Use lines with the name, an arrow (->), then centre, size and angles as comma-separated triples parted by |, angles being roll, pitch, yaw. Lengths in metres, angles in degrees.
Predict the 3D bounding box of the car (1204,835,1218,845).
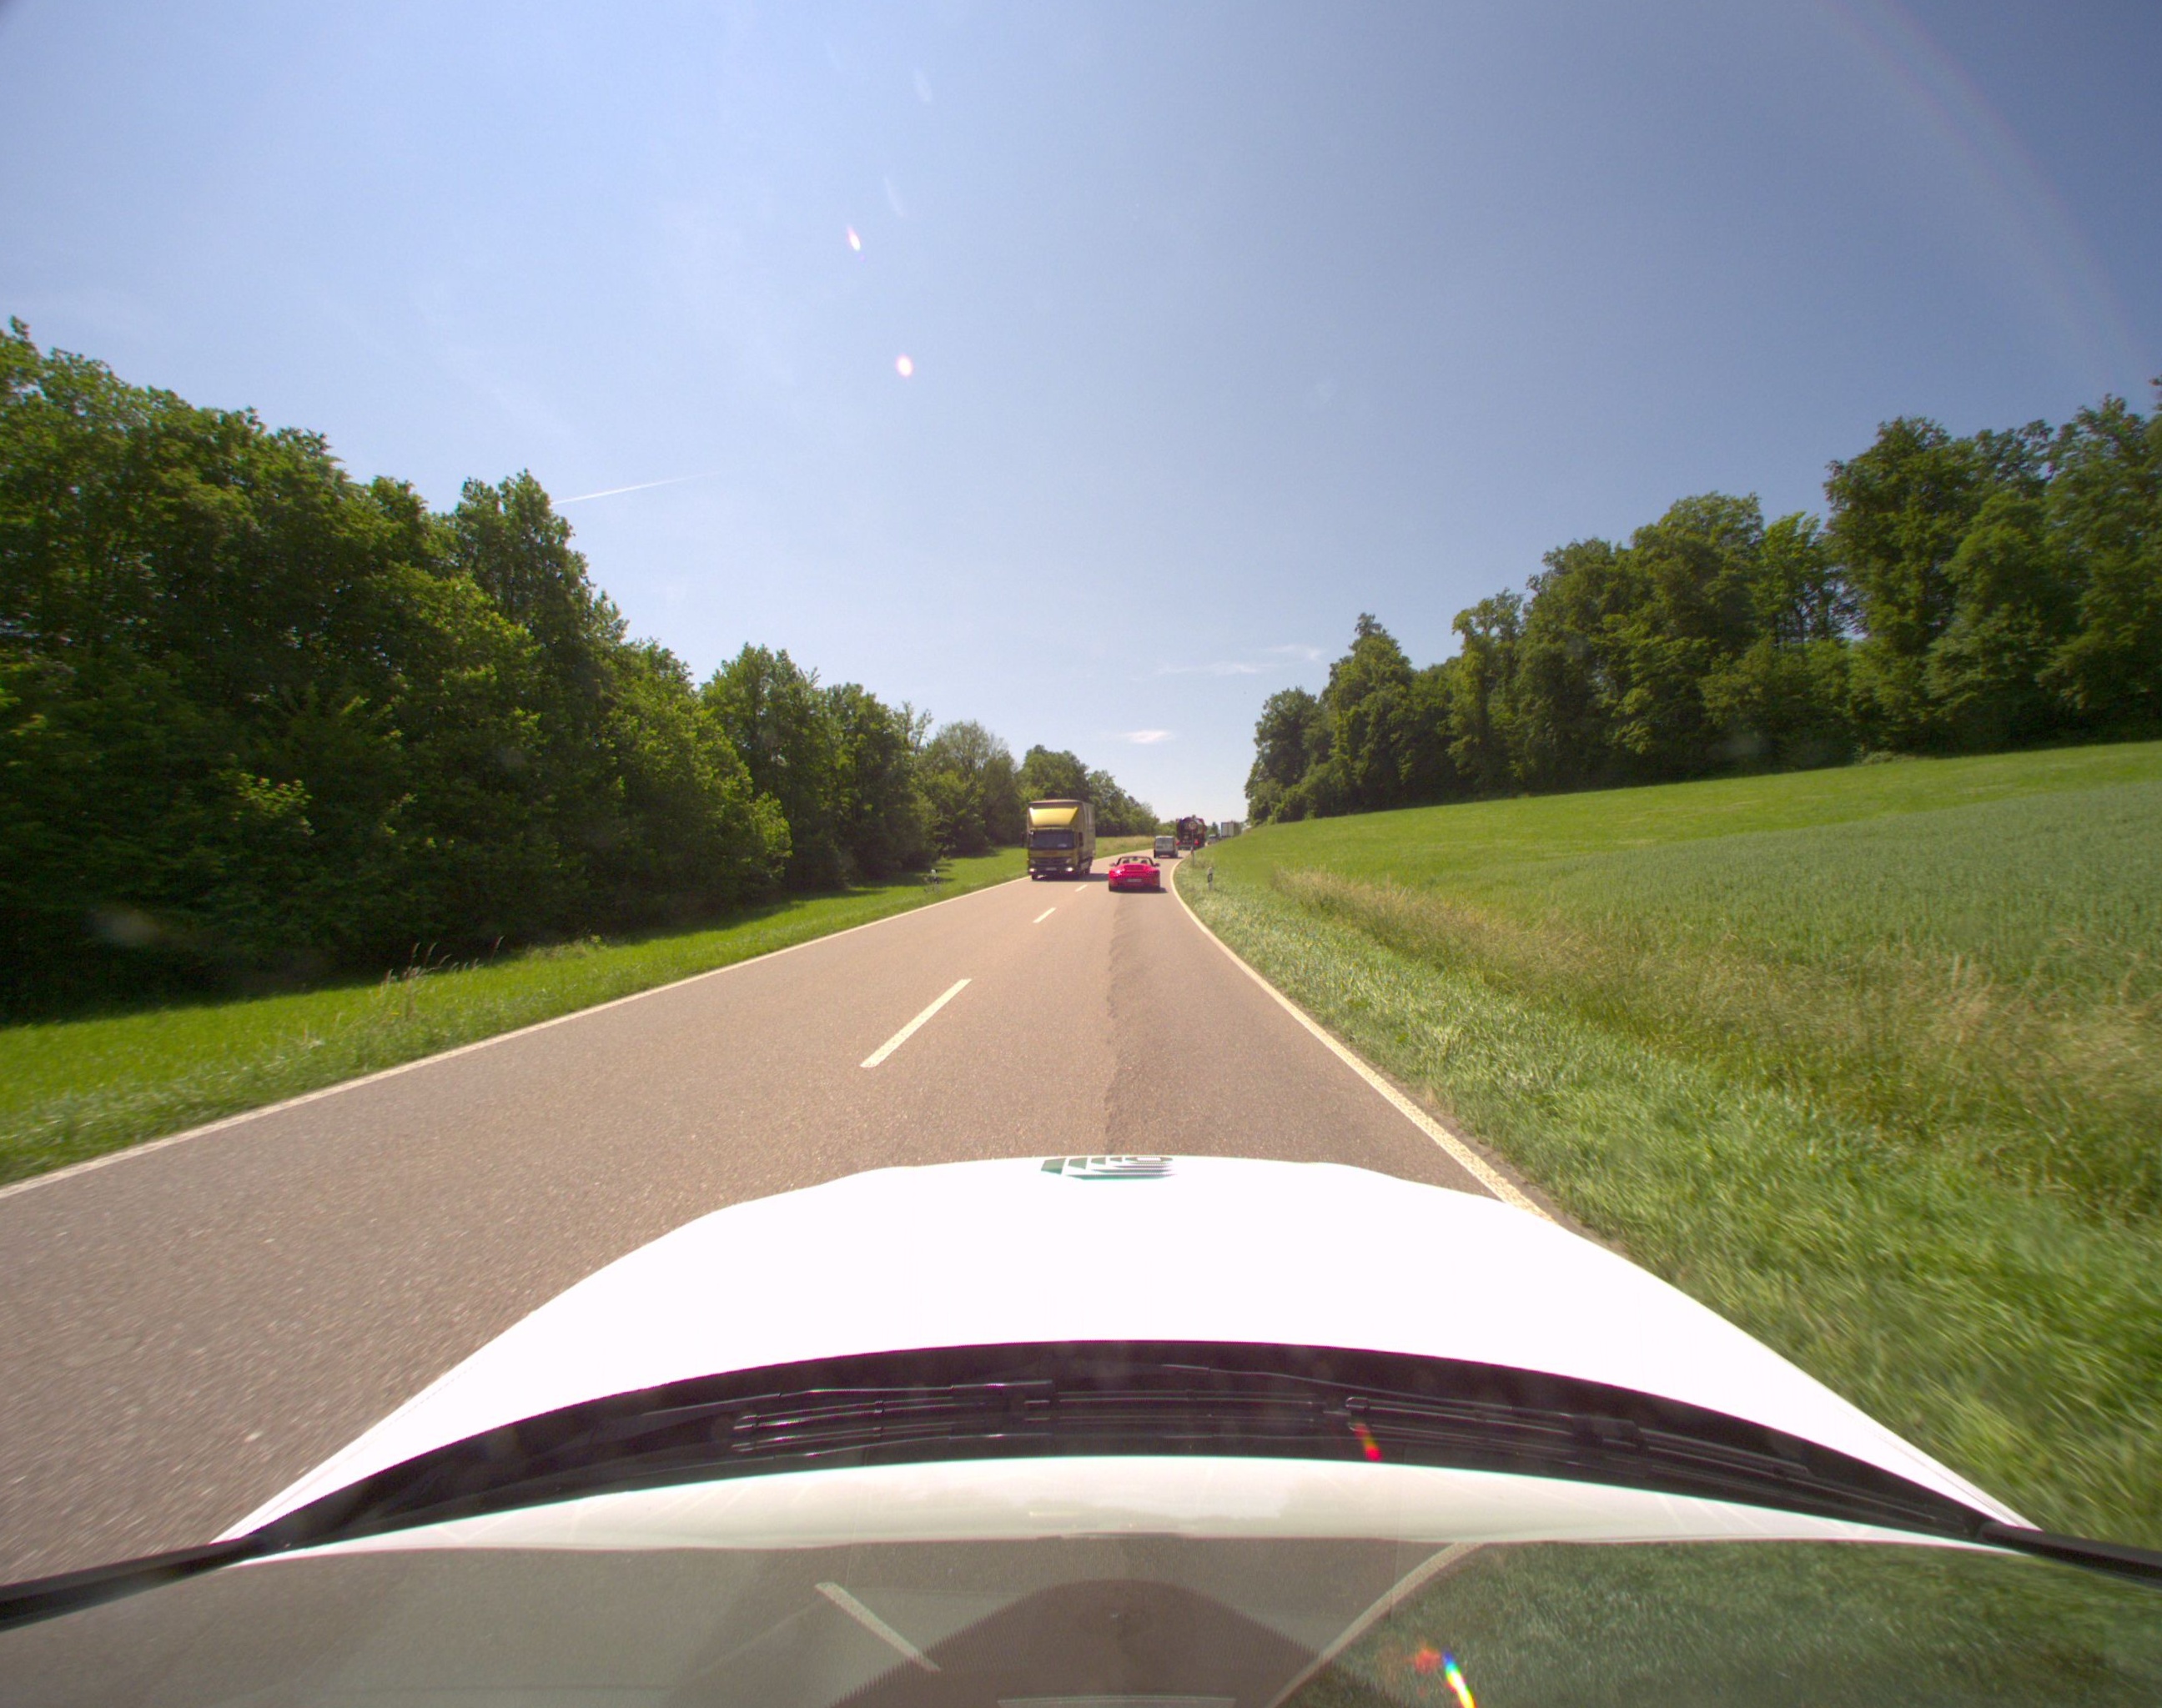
car -> 21.461, -2.257, 134.095 | 1.817, 1.513, 4.209 | -1, 1, 16

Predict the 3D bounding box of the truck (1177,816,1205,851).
truck -> 13.668, -2.510, 100.609 | 2.387, 4.049, 12.594 | -1, 1, 12

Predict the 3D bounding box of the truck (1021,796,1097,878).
truck -> -0.920, -0.780, 41.027 | 2.717, 3.690, 8.559 | -1, 0, 6

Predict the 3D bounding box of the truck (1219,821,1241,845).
truck -> 30.446, -4.310, 166.121 | 3.699, 4.660, 12.076 | -1, 1, 13

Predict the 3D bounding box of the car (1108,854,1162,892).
car -> 1.957, 0.678, 30.463 | 1.875, 1.255, 4.011 | -1, 1, 2

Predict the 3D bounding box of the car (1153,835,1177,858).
car -> 7.465, -0.688, 71.811 | 1.667, 1.900, 4.023 | -1, 1, 12
